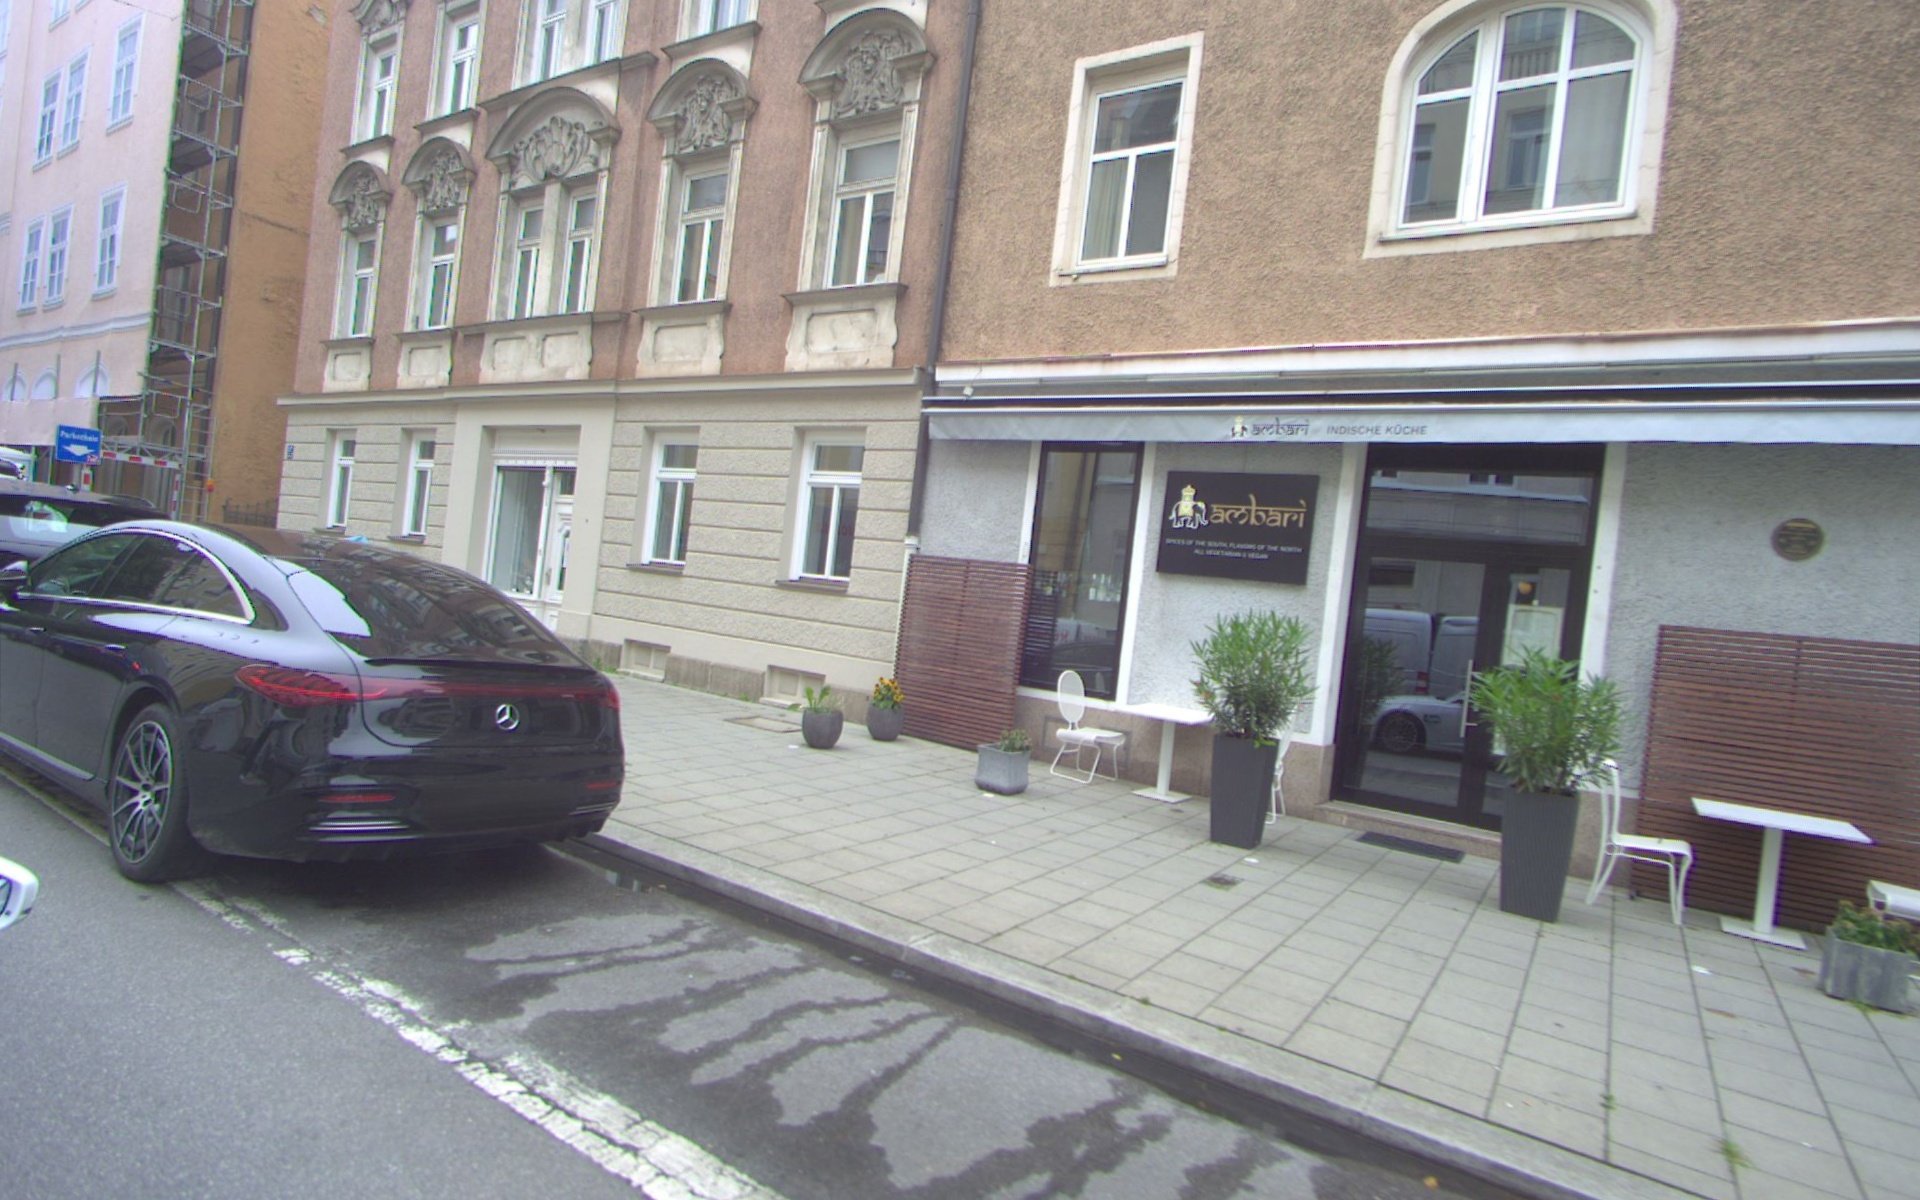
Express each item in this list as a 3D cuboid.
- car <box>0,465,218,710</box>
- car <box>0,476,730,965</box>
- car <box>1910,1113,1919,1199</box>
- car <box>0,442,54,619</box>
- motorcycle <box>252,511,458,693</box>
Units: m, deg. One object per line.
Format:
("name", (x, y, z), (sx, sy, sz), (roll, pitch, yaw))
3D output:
("car", (-8.428, -0.242, 8.724), (4.338, 1.694, 1.697), (6, -4, 34))
("car", (-4.080, 0.281, 5.747), (5.544, 1.571, 1.934), (7, -1, 32))
("car", (3.725, 1.285, 0.736), (4.114, 1.411, 1.574), (6, 0, 32))
("car", (-13.211, -0.984, 12.156), (5.060, 1.942, 2.085), (4, -3, 34))
("motorcycle", (-5.904, -0.003, 9.774), (1.966, 1.523, 0.872), (7, 0, 35))
